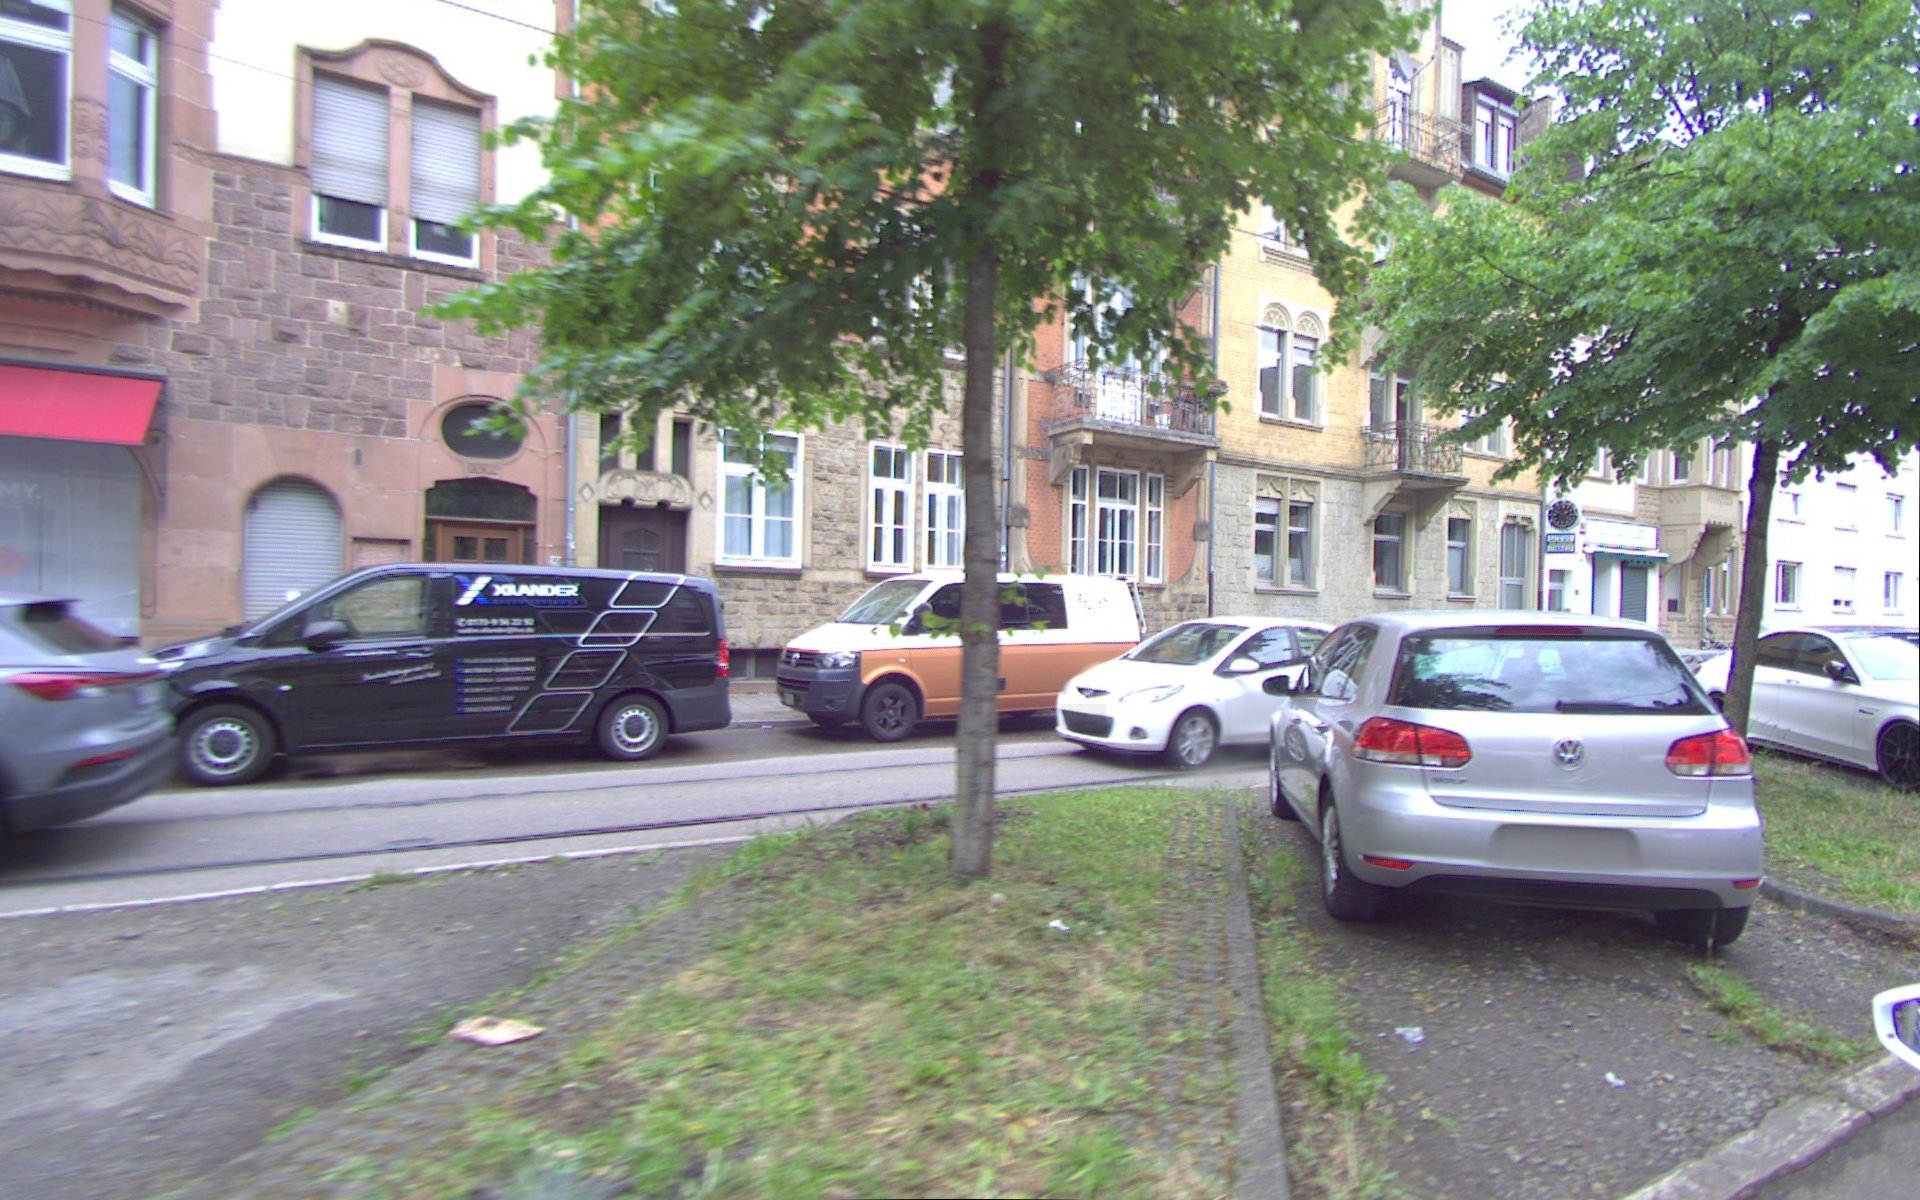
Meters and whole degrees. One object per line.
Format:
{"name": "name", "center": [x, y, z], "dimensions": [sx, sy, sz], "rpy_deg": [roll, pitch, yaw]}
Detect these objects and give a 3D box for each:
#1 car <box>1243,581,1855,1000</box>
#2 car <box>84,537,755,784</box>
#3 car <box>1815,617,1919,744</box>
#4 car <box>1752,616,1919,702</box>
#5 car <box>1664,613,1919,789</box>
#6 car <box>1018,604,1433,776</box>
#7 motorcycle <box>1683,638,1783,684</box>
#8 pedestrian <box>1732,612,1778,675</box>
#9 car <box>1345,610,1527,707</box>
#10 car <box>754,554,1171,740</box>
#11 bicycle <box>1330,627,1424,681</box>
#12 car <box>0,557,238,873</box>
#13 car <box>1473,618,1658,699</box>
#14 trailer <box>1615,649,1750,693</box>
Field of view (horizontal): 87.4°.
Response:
{"name": "car", "center": [2.780, 0.711, 5.875], "dimensions": [1.760, 1.504, 4.120], "rpy_deg": [1, 0, 11]}
{"name": "car", "center": [-4.679, 0.511, 9.450], "dimensions": [5.060, 1.805, 1.804], "rpy_deg": [2, 0, -31]}
{"name": "car", "center": [11.993, 0.959, 11.215], "dimensions": [1.860, 1.454, 4.343], "rpy_deg": [1, 0, 12]}
{"name": "car", "center": [17.580, 1.141, 19.968], "dimensions": [3.839, 1.524, 1.635], "rpy_deg": [2, 0, -31]}
{"name": "car", "center": [9.218, 0.888, 9.888], "dimensions": [1.860, 1.454, 4.691], "rpy_deg": [1, 0, 9]}
{"name": "car", "center": [2.977, 0.878, 10.879], "dimensions": [4.570, 1.524, 1.635], "rpy_deg": [2, 0, -31]}
{"name": "motorcycle", "center": [18.921, 1.488, 24.581], "dimensions": [2.192, 1.052, 0.709], "rpy_deg": [2, 0, -14]}
{"name": "pedestrian", "center": [23.226, 1.260, 29.351], "dimensions": [0.890, 1.790, 0.793], "rpy_deg": [1, 0, -31]}
{"name": "car", "center": [8.570, 1.008, 18.062], "dimensions": [2.918, 1.571, 1.626], "rpy_deg": [2, 0, -32]}
{"name": "car", "center": [0.135, 0.567, 12.754], "dimensions": [5.036, 1.978, 1.871], "rpy_deg": [2, 0, -31]}
{"name": "bicycle", "center": [9.062, 1.159, 21.798], "dimensions": [2.235, 1.087, 0.707], "rpy_deg": [2, 0, -32]}
{"name": "car", "center": [-6.550, 0.532, 5.095], "dimensions": [4.495, 1.600, 1.795], "rpy_deg": [2, 0, -31]}
{"name": "car", "center": [12.318, 1.152, 20.376], "dimensions": [3.880, 1.462, 1.626], "rpy_deg": [2, 0, -32]}
{"name": "trailer", "center": [16.366, 1.577, 22.739], "dimensions": [3.042, 0.904, 1.446], "rpy_deg": [2, -2, -32]}
